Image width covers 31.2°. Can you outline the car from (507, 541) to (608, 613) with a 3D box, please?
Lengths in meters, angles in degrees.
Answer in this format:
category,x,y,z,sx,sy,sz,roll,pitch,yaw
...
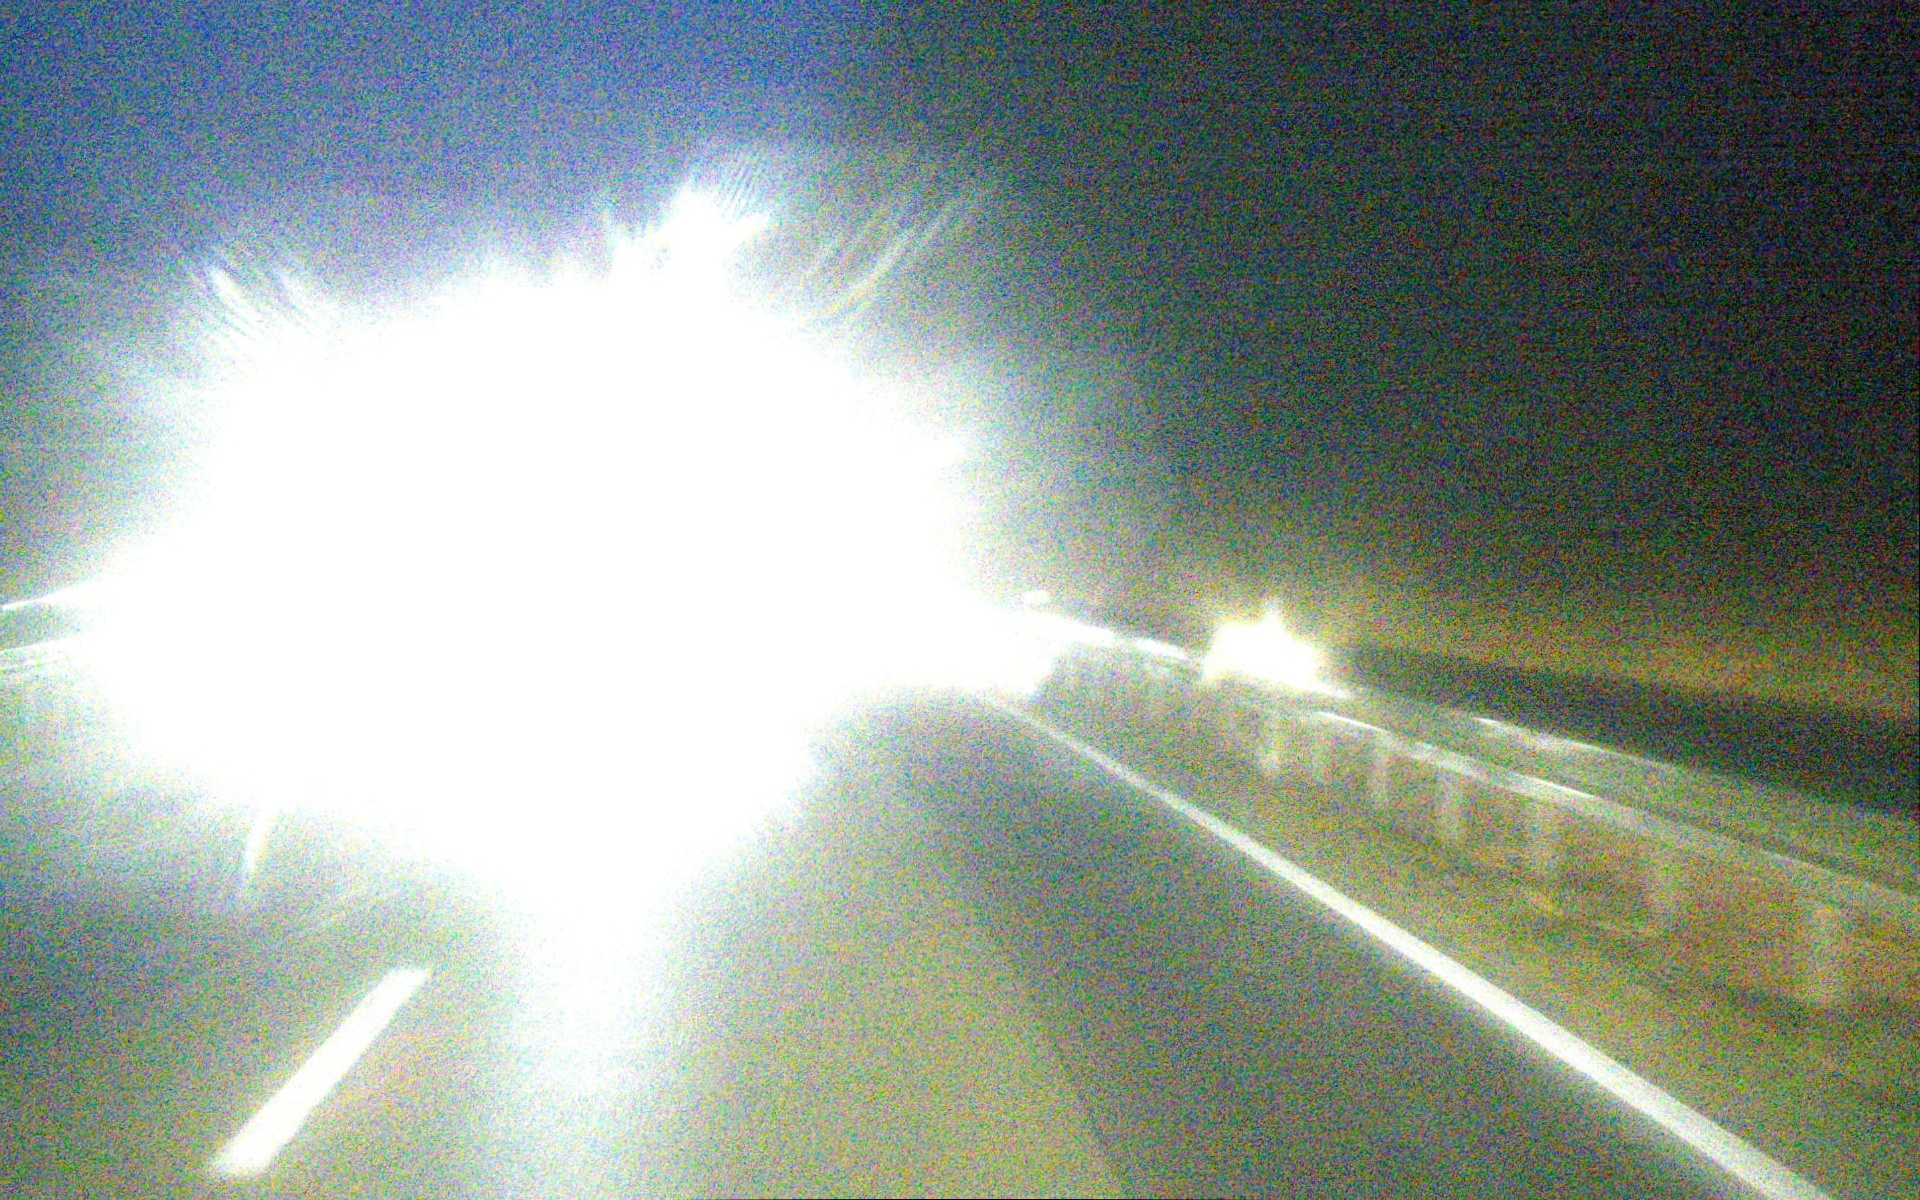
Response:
category,x,y,z,sx,sy,sz,roll,pitch,yaw
car,-8.603,-0.518,73.725,1.993,1.467,3.837,1,1,-4

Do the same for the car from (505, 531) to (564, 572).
category,x,y,z,sx,sy,sz,roll,pitch,yaw
car,-14.269,-1.621,115.408,1.805,1.334,4.189,1,0,-5
